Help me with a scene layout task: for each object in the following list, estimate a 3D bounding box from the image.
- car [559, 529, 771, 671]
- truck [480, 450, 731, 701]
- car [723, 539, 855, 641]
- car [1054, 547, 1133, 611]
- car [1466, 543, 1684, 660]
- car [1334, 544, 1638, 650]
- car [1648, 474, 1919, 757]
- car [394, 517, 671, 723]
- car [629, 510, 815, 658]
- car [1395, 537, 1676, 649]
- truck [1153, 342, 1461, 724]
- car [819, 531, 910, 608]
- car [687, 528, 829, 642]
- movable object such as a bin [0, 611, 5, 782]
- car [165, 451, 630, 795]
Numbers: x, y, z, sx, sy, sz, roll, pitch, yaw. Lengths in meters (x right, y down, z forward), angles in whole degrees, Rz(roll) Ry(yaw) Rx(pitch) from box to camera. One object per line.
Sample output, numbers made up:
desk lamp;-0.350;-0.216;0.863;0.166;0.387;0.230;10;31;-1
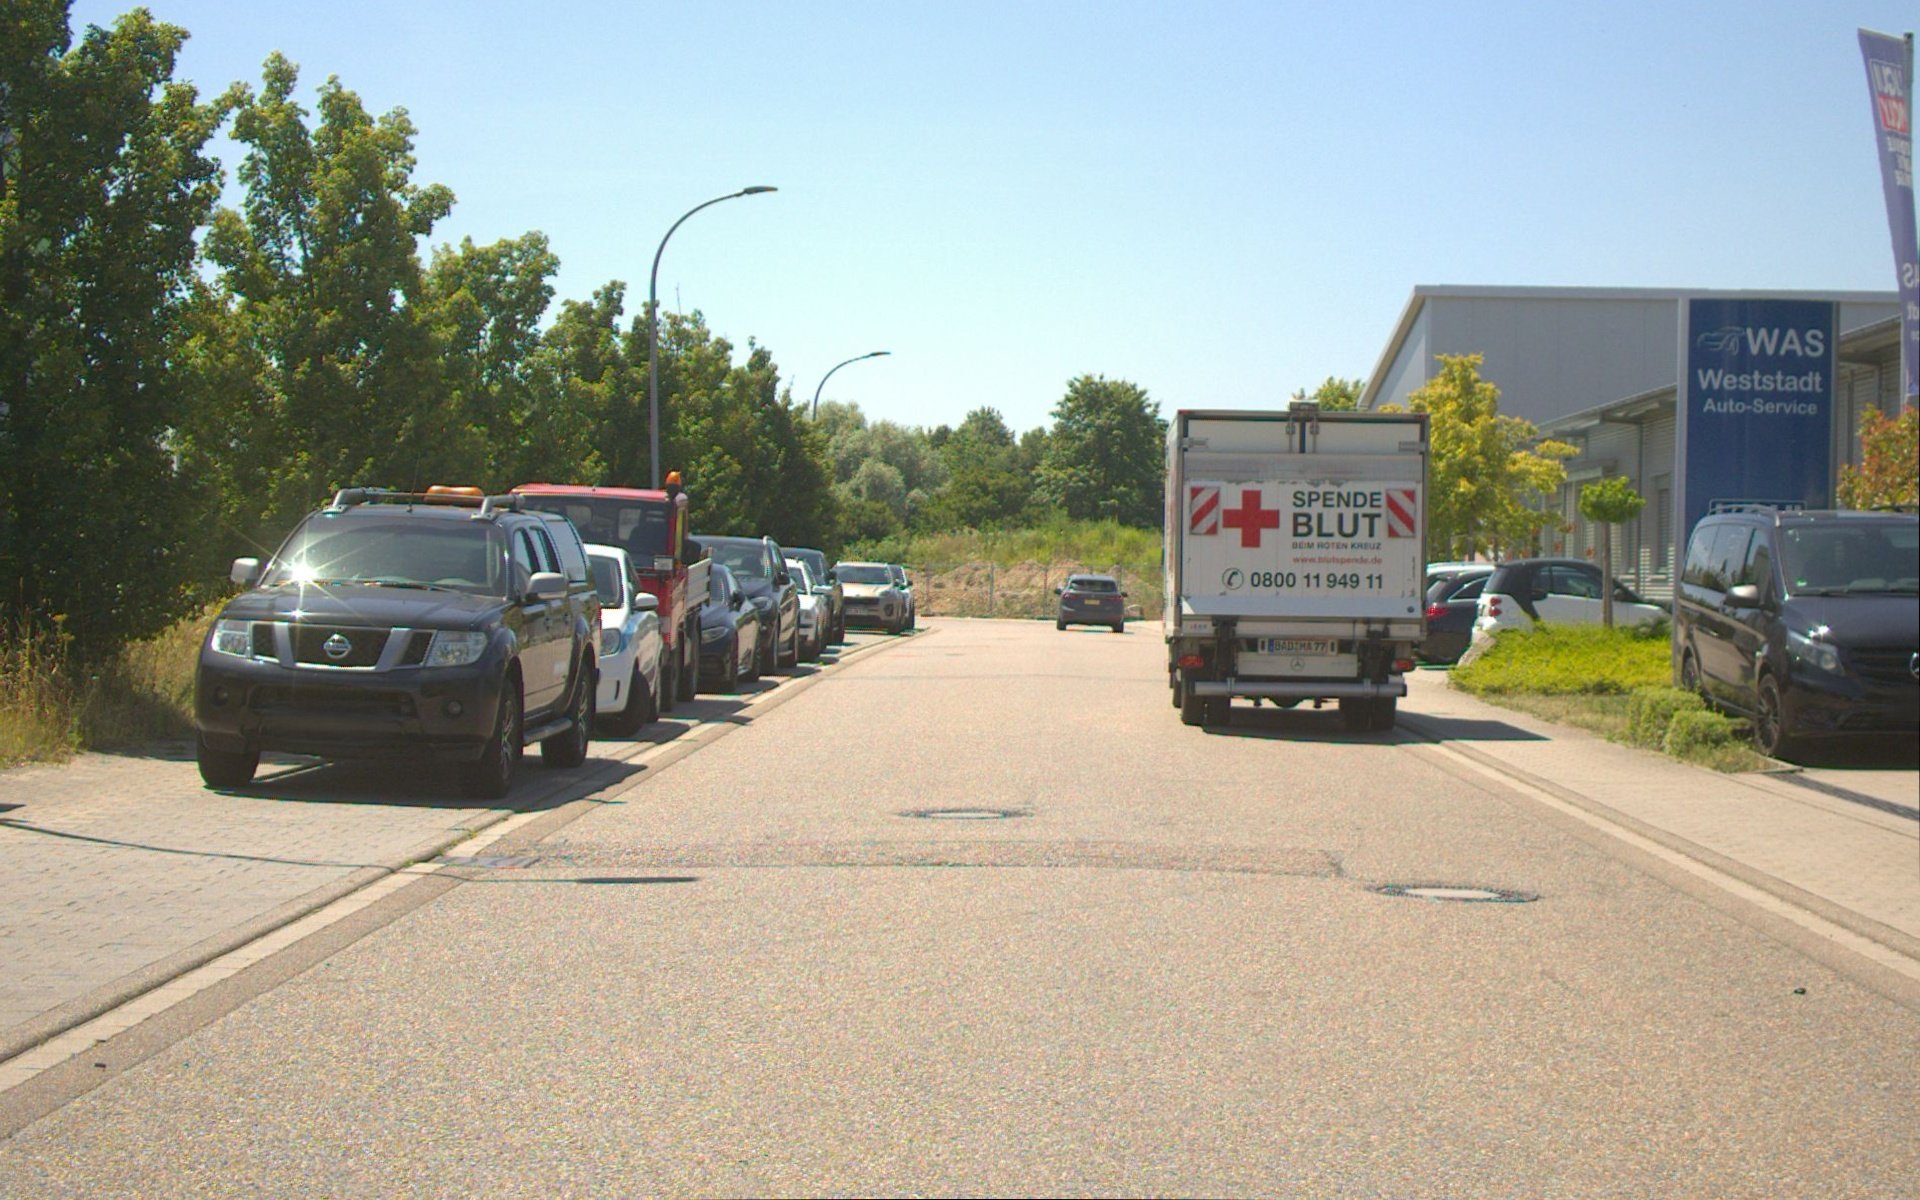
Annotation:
car;-3.280;-0.036;39.095;1.851;1.438;4.753;2;1;1
truck;-3.391;-0.256;33.698;1.851;2.215;4.646;2;1;0
car;-3.088;-0.207;63.096;1.991;1.707;5.007;2;1;1
car;3.681;-0.600;95.463;1.912;1.707;4.031;1;1;-1
car;8.178;0.006;45.877;2.706;1.536;1.412;0;1;3
car;7.742;-0.050;50.921;4.280;1.536;1.913;0;1;3
car;6.915;0.081;27.234;1.993;2.007;5.336;1;1;2
car;-3.523;0.128;28.963;1.851;1.545;3.767;2;1;-1
car;-3.053;-0.231;45.024;1.851;1.752;4.986;2;1;2
car;8.051;-0.110;48.344;3.692;1.536;1.913;0;1;3
truck;3.186;-0.636;33.137;2.457;3.194;6.882;3;1;3
car;-2.172;-0.726;79.302;1.912;1.707;4.413;0;1;1
car;-2.909;-0.246;50.436;1.851;1.514;4.905;2;1;-1
movable object such as a bin;-5.586;0.533;18.745;0.547;0.947;0.683;1;1;0
car;-3.492;0.097;22.447;1.974;1.894;5.402;2;1;1
